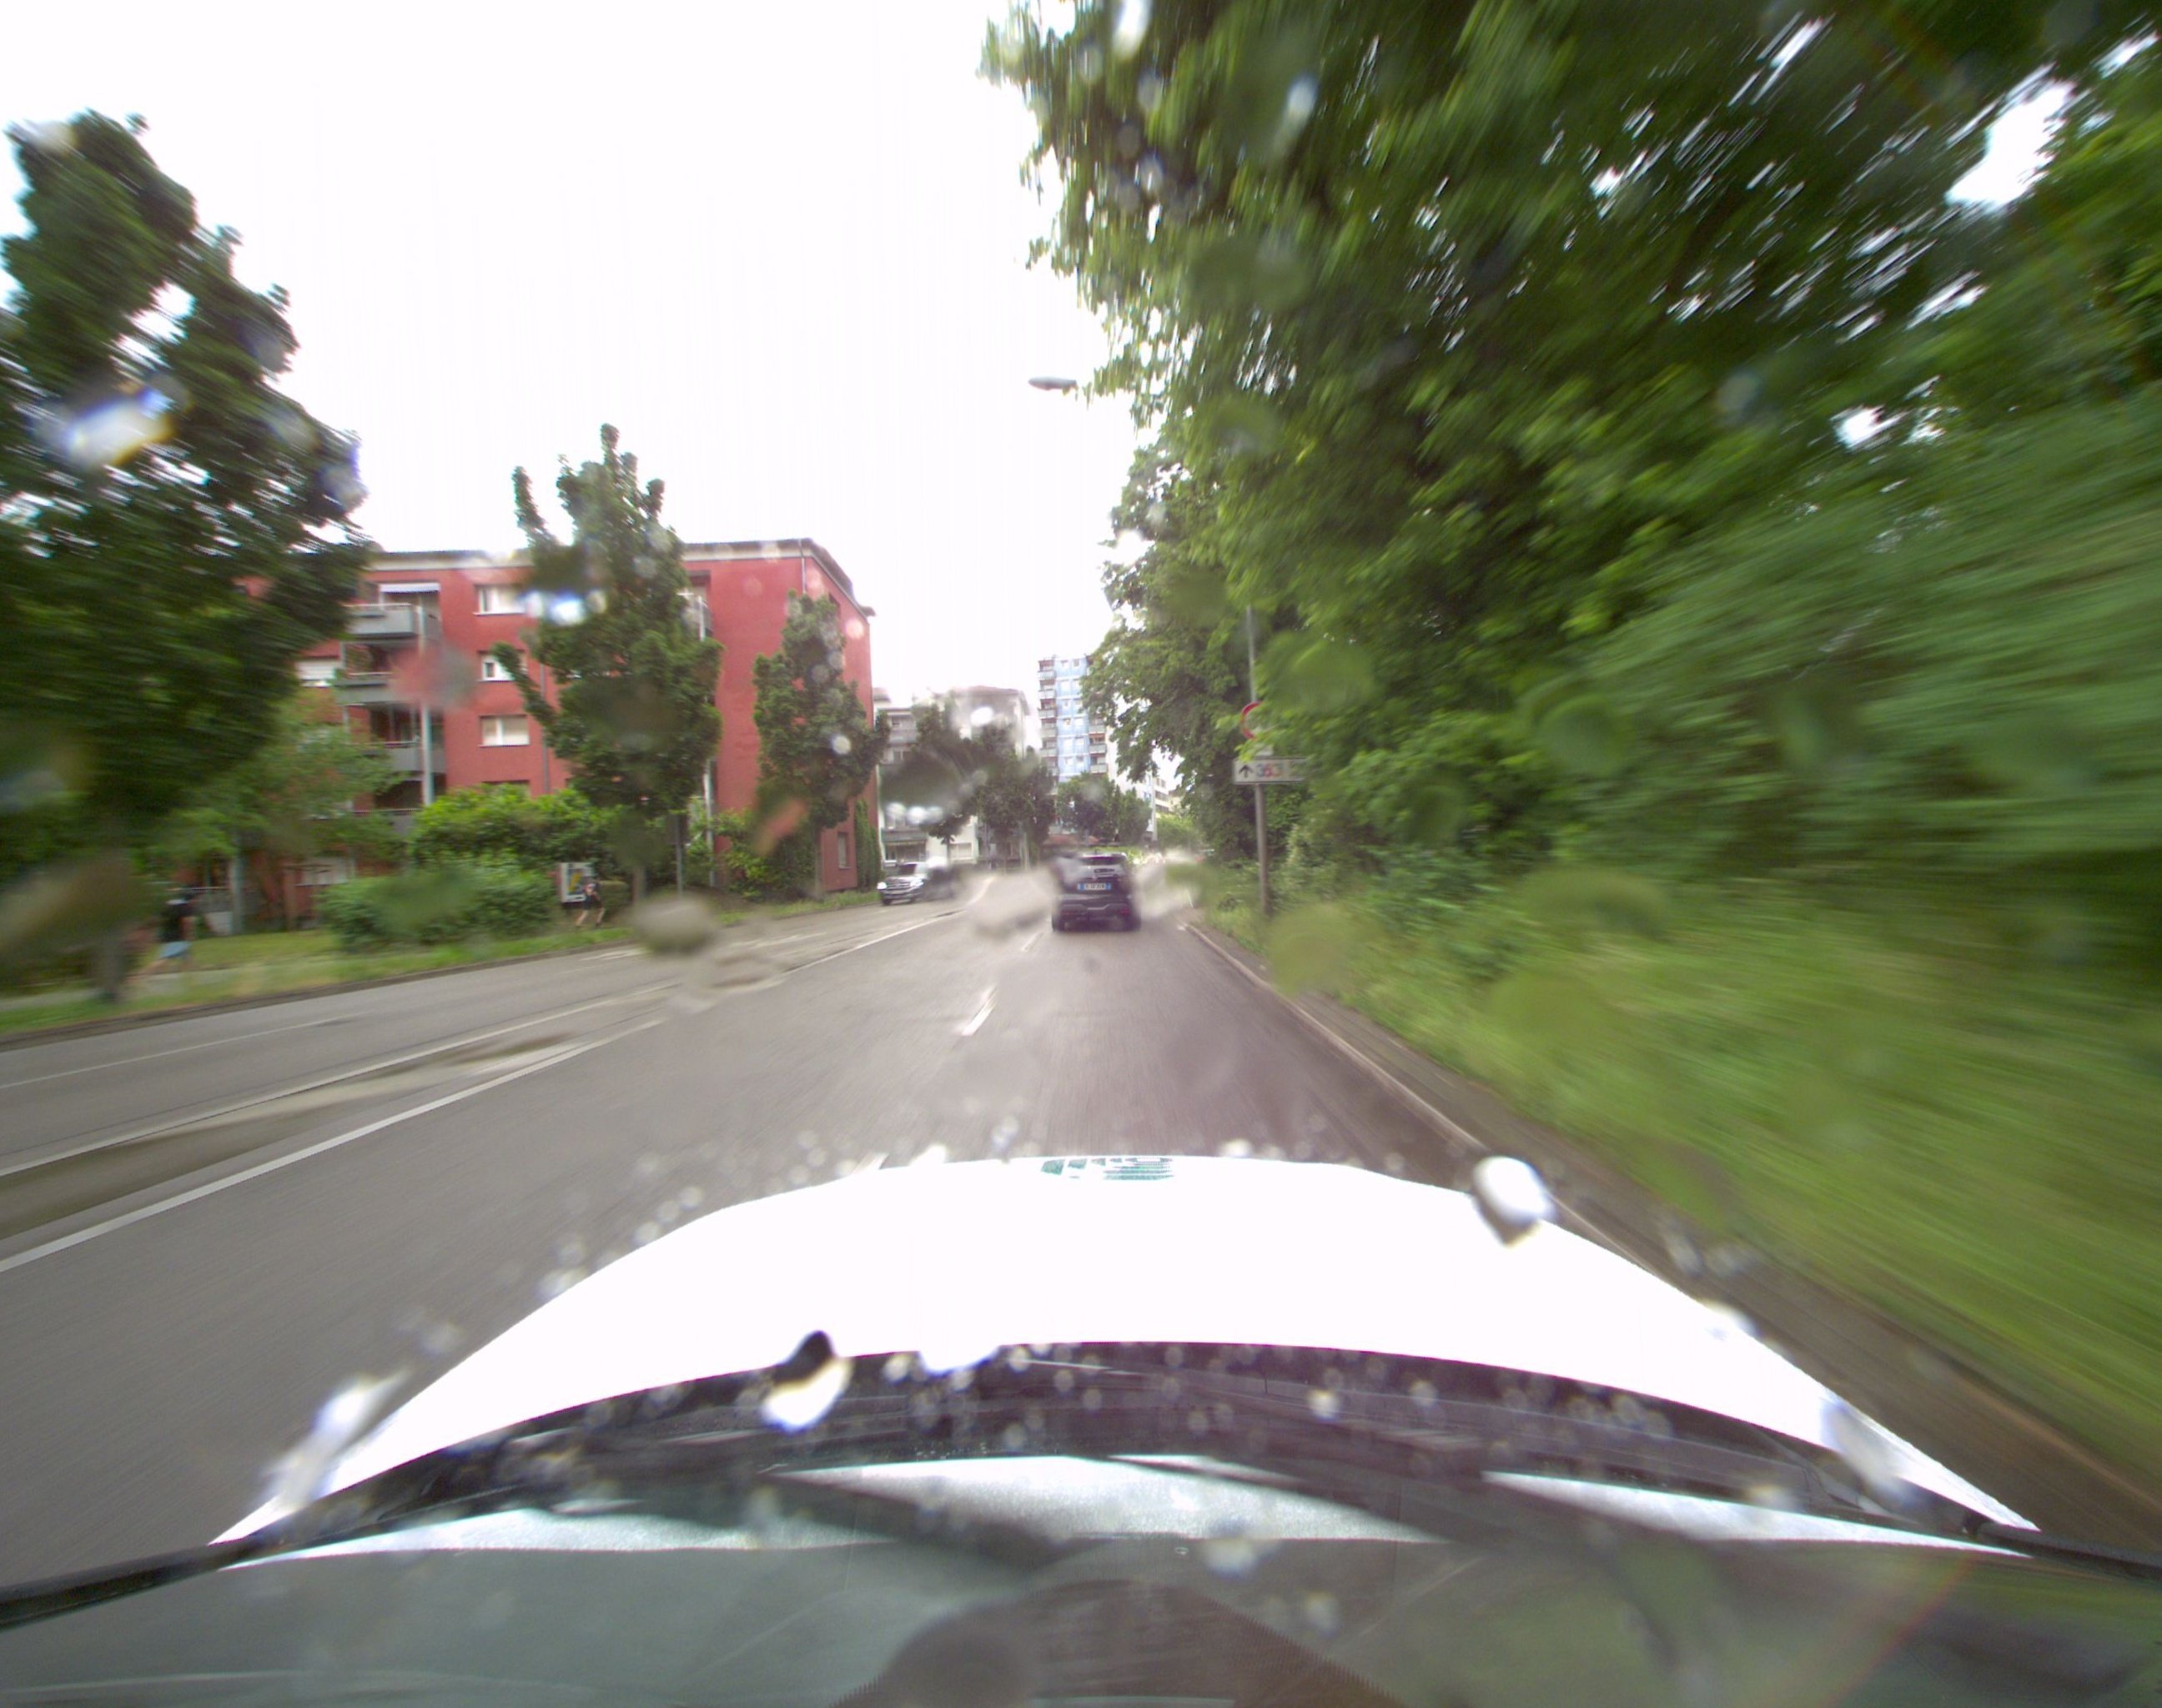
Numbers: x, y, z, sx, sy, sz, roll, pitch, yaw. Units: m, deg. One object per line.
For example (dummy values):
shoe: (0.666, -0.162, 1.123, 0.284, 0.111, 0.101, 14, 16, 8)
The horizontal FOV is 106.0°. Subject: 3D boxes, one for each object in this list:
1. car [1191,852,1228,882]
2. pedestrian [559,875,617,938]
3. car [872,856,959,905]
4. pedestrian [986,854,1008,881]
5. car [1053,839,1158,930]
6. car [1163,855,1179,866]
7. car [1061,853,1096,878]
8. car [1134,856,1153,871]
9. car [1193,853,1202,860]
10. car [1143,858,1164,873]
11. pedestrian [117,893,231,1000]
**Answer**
car: (9.534, 0.963, 60.351, 1.977, 2.013, 4.019, -3, 0, 18)
pedestrian: (-12.617, 1.329, 20.869, 0.689, 1.517, 1.071, -3, 0, 5)
car: (-6.500, 0.975, 32.470, 1.912, 1.631, 4.511, -4, 0, 7)
pedestrian: (-6.001, 0.953, 58.305, 1.127, 1.804, 1.267, -3, 0, 11)
car: (0.418, 0.594, 17.758, 1.954, 1.653, 3.997, -3, 0, -2)
car: (13.299, 0.946, 119.770, 1.862, 1.390, 4.641, -4, 0, 11)
car: (-0.111, 0.765, 55.046, 1.665, 1.562, 4.153, 0, 1, 10)
car: (7.754, 1.193, 100.953, 1.862, 1.602, 4.477, -4, 0, 10)
car: (26.422, 0.478, 184.522, 1.661, 1.478, 3.621, -4, -1, 13)
car: (7.941, 1.266, 88.695, 1.830, 1.385, 4.371, -4, 0, 9)
pedestrian: (-13.366, 1.346, 12.023, 0.668, 1.449, 0.837, -3, 0, 5)
